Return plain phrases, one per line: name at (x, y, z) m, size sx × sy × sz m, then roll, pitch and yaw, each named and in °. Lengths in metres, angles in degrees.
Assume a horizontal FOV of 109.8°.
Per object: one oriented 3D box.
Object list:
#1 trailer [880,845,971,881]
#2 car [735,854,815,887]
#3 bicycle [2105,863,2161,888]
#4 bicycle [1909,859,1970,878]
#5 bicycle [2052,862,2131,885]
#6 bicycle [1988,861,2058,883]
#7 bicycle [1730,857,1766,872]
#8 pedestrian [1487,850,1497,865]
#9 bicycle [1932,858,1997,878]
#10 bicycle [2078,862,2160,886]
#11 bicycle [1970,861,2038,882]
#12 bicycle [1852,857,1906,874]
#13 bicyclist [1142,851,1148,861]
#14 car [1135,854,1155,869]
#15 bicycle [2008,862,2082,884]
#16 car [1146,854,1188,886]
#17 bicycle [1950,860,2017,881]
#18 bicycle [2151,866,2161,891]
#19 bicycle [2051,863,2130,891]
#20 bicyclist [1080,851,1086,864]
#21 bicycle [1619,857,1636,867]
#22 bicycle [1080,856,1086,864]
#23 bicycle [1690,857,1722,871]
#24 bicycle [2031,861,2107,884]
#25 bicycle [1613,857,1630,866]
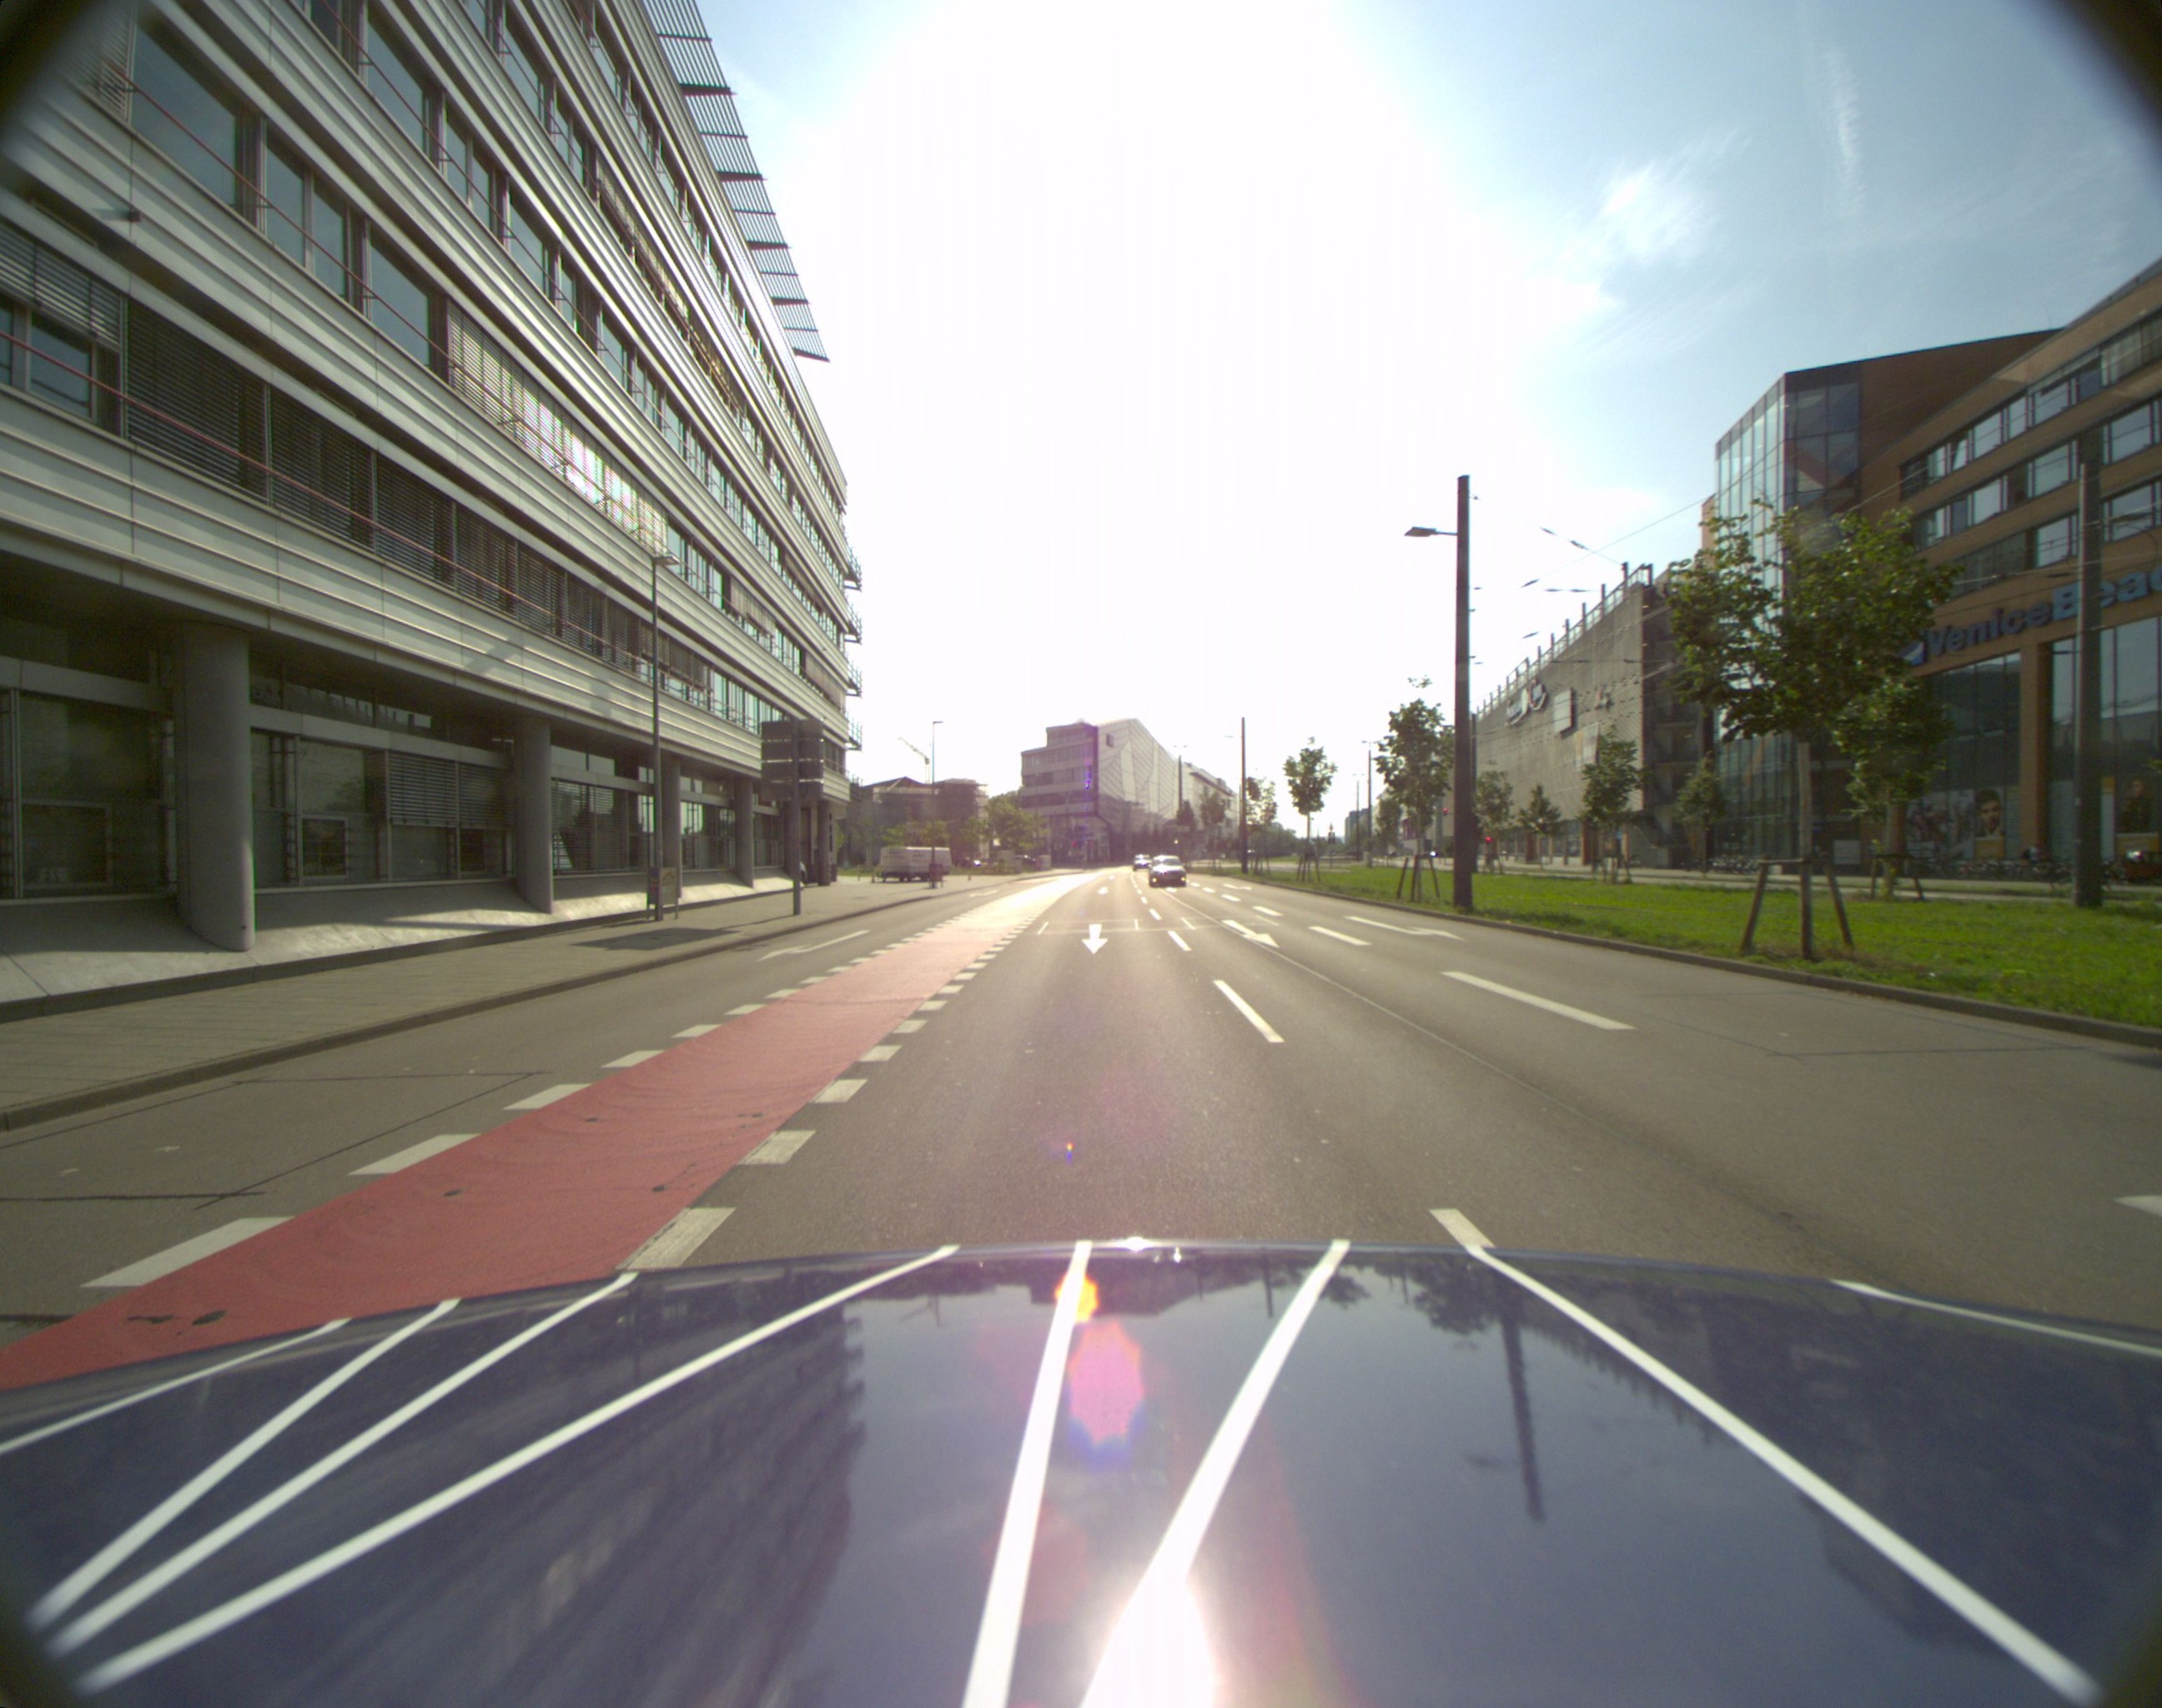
trailer at (-9.852, 0.515, 48.699) m, size 2.390 × 2.138 × 5.960 m, roll 0°, pitch 0°, yaw 28°
car at (-15.085, 0.805, 37.669) m, size 1.747 × 1.580 × 4.004 m, roll 0°, pitch -1°, yaw 11°
bicycle at (40.642, 0.815, 28.962) m, size 2.051 × 0.916 × 0.574 m, roll -1°, pitch 1°, yaw 12°
bicycle at (41.980, 0.723, 37.169) m, size 2.051 × 0.916 × 0.574 m, roll -1°, pitch 1°, yaw 12°
bicycle at (40.846, 0.783, 30.743) m, size 2.051 × 0.916 × 0.574 m, roll -1°, pitch 1°, yaw 12°
bicycle at (41.321, 0.781, 33.346) m, size 2.051 × 0.916 × 0.574 m, roll -1°, pitch 1°, yaw 12°
bicycle at (40.336, 0.640, 45.954) m, size 1.581 × 0.935 × 0.411 m, roll -1°, pitch 1°, yaw 16°
pedestrian at (41.009, 0.340, 75.852) m, size 0.762 × 1.570 × 0.590 m, roll 0°, pitch 1°, yaw 13°
bicycle at (41.754, 0.666, 35.926) m, size 2.051 × 0.916 × 0.574 m, roll -1°, pitch 1°, yaw 12°
bicycle at (40.772, 0.798, 29.855) m, size 2.051 × 0.916 × 0.574 m, roll -1°, pitch 1°, yaw 12°
bicycle at (41.486, 0.765, 34.171) m, size 2.051 × 0.916 × 0.574 m, roll -1°, pitch 1°, yaw 12°
bicycle at (42.799, 0.621, 40.754) m, size 2.051 × 0.916 × 0.574 m, roll -1°, pitch 1°, yaw 12°
bicyclist at (10.462, 0.275, 123.714) m, size 0.781 × 1.577 × 0.933 m, roll 0°, pitch 2°, yaw 23°
car at (5.904, 0.695, 70.279) m, size 1.587 × 1.335 × 3.164 m, roll -1°, pitch 0°, yaw 0°
bicycle at (41.137, 0.808, 32.445) m, size 2.051 × 0.916 × 0.574 m, roll -1°, pitch 1°, yaw 12°
car at (4.116, 0.756, 36.941) m, size 1.643 × 1.411 × 3.895 m, roll -1°, pitch 1°, yaw 1°
bicycle at (41.603, 0.765, 35.037) m, size 2.051 × 0.916 × 0.574 m, roll -1°, pitch 1°, yaw 12°
bicycle at (40.150, 0.888, 27.356) m, size 2.051 × 0.916 × 0.574 m, roll -1°, pitch 1°, yaw 12°
bicycle at (34.931, 0.799, 26.316) m, size 1.679 × 0.902 × 0.710 m, roll -1°, pitch 1°, yaw 4°
bicyclist at (0.285, 0.466, 102.675) m, size 0.669 × 1.693 × 0.637 m, roll 0°, pitch 2°, yaw 7°
bicycle at (43.297, 0.655, 60.229) m, size 1.022 × 0.747 × 0.361 m, roll -1°, pitch 1°, yaw 18°
bicycle at (0.278, 0.782, 102.591) m, size 0.669 × 1.092 × 1.805 m, roll 0°, pitch 2°, yaw 7°
bicycle at (40.935, 0.650, 49.773) m, size 1.581 × 0.935 × 0.473 m, roll -1°, pitch 1°, yaw 16°
bicycle at (41.105, 0.757, 31.639) m, size 2.051 × 0.916 × 0.574 m, roll -1°, pitch 1°, yaw 12°
bicycle at (43.671, 0.613, 61.362) m, size 1.004 × 0.747 × 0.453 m, roll -1°, pitch 1°, yaw 18°
